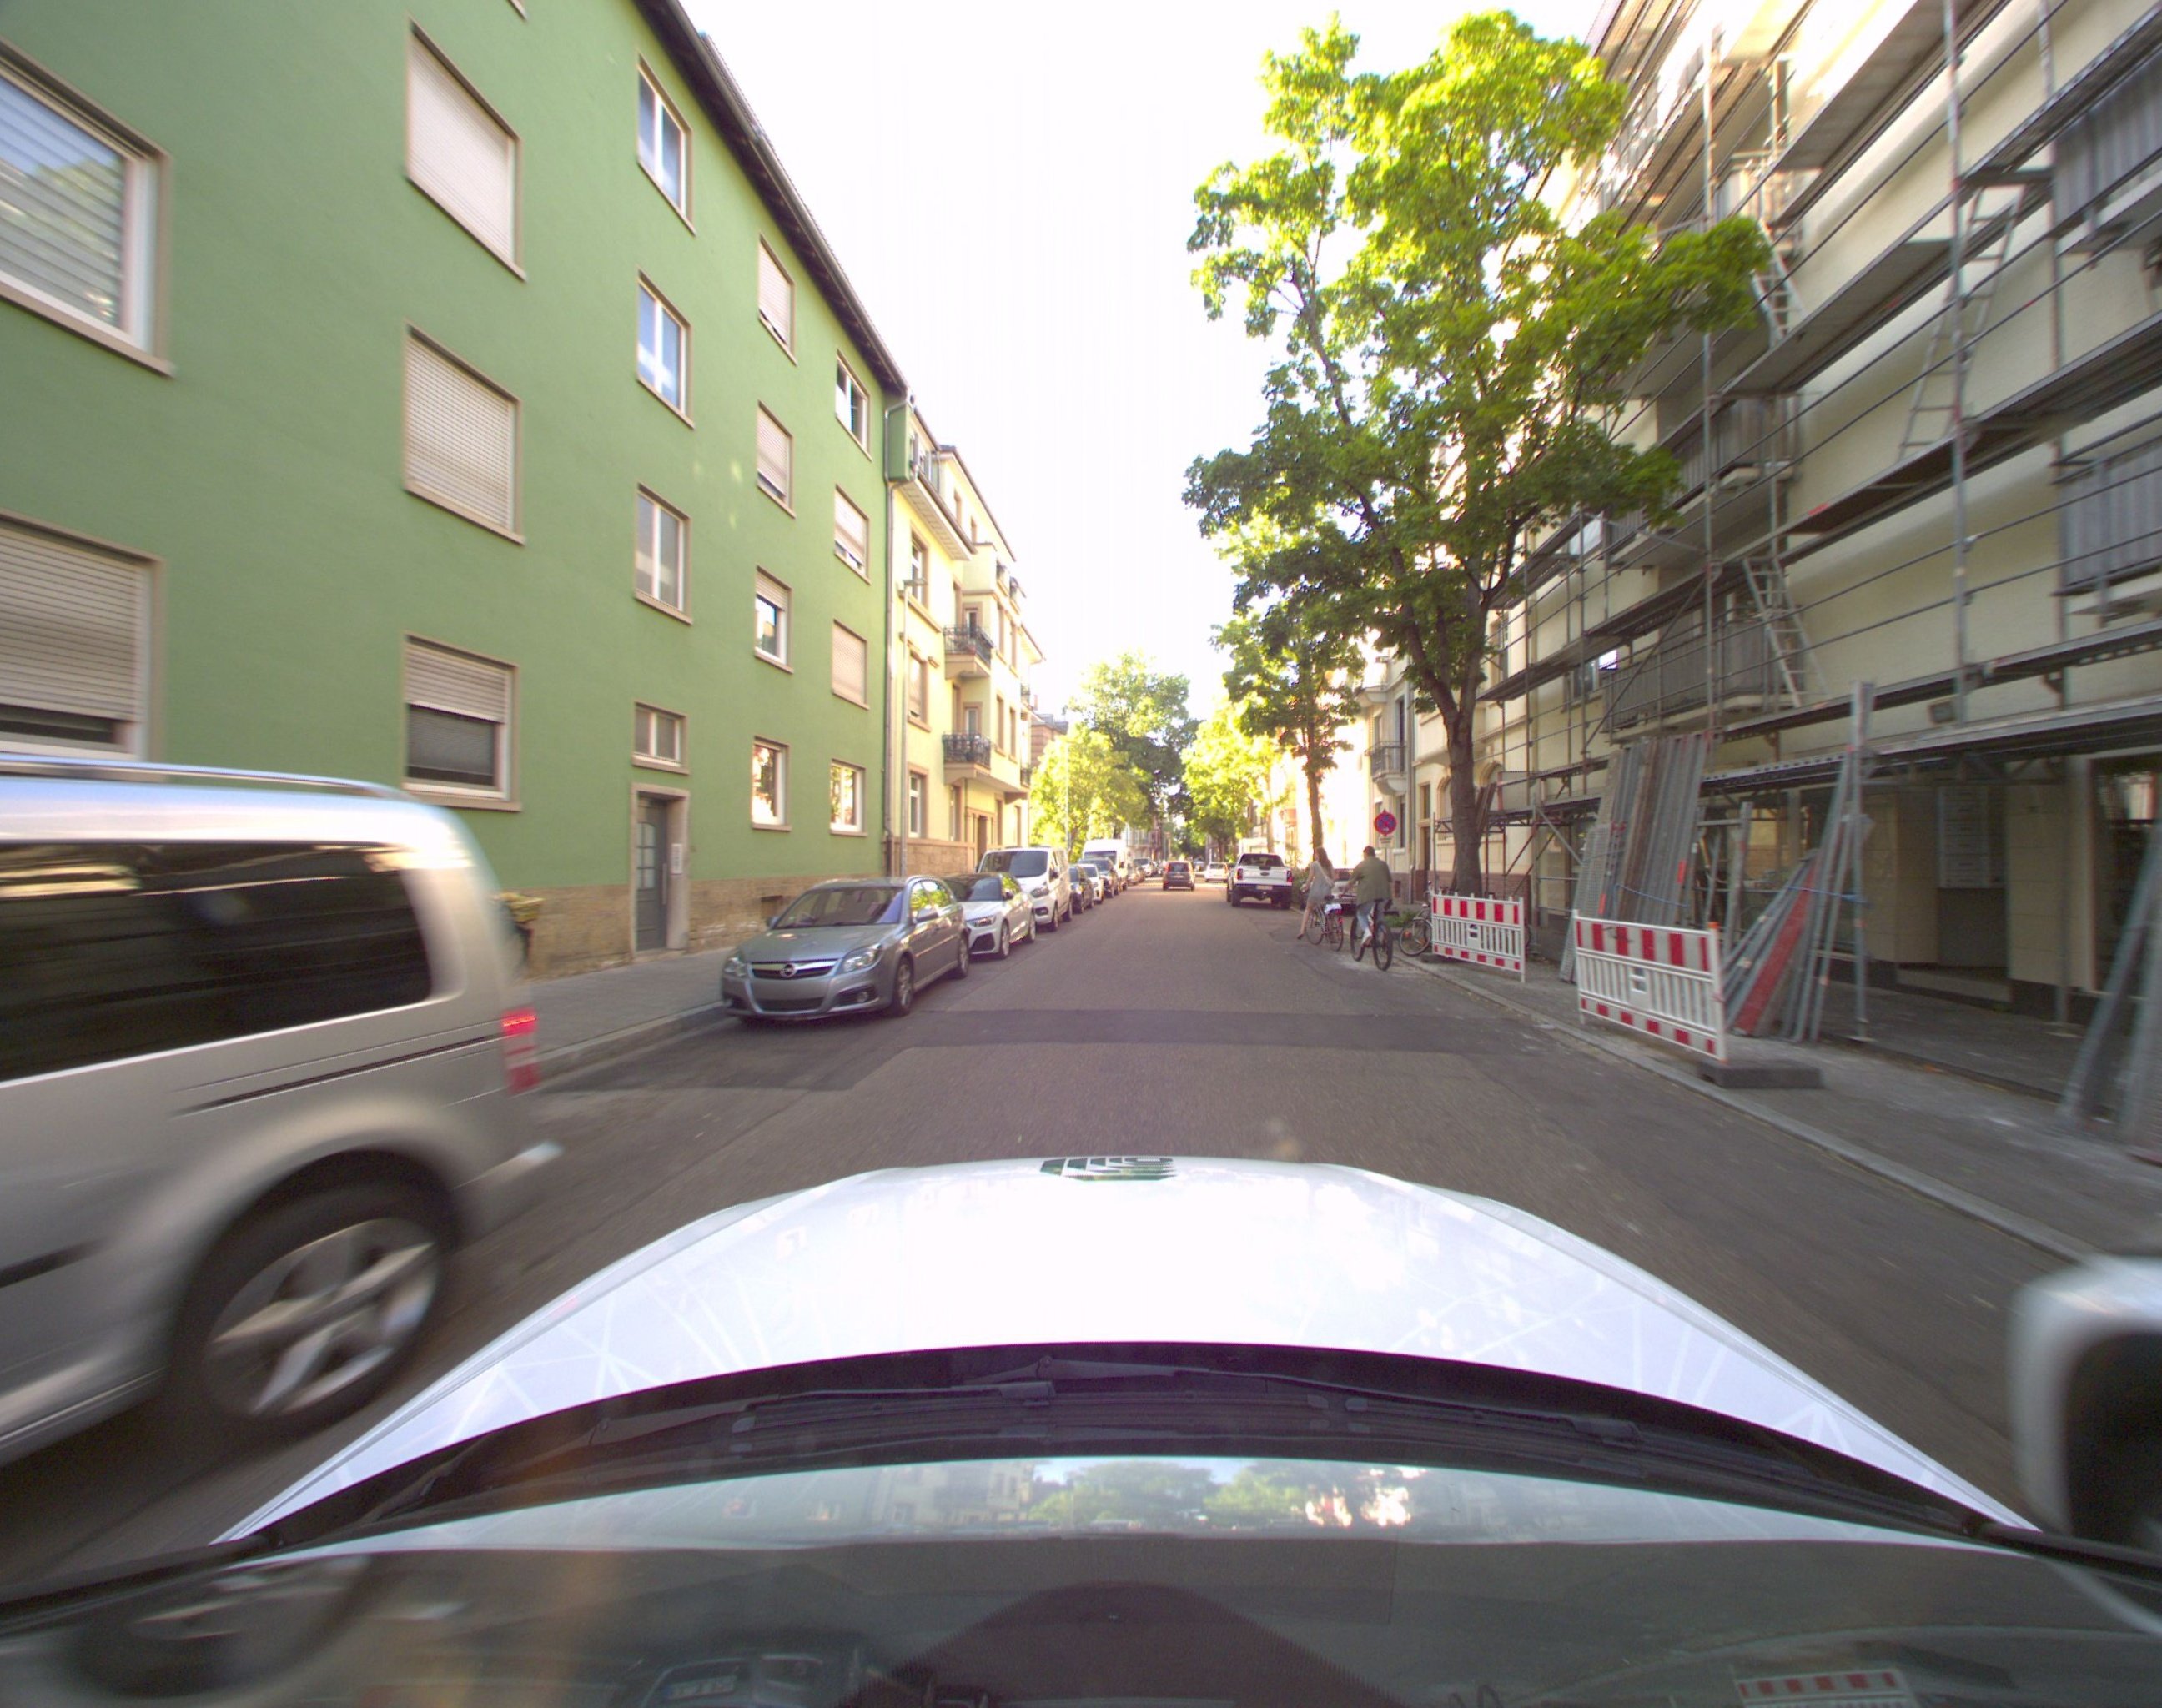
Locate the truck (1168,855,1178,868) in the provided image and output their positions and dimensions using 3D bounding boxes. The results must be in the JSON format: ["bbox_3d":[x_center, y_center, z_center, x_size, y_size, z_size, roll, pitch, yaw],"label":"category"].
[{"bbox_3d":[20.761,1.704,183.866,2.059,2.926,5.079,-4,-1,8],"label":"truck"}]

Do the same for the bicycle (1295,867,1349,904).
[{"bbox_3d":[8.494,1.108,28.792,1.750,1.305,0.587,0,-1,5],"label":"bicycle"}]

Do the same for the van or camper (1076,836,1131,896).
[{"bbox_3d":[1.250,0.591,41.934,2.117,2.769,5.863,-2,-1,7],"label":"van or camper"}]

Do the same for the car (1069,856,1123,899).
[{"bbox_3d":[0.742,0.989,36.169,1.865,1.685,4.979,-2,-1,7],"label":"car"}]

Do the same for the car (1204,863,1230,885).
[{"bbox_3d":[10.060,1.475,60.278,1.670,1.544,3.807,1,0,6],"label":"car"}]

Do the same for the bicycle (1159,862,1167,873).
[{"bbox_3d":[8.196,1.371,81.316,0.661,1.077,1.688,3,0,7],"label":"bicycle"}]

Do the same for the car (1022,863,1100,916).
[{"bbox_3d":[-0.536,1.072,26.403,1.757,1.521,4.835,-1,-1,7],"label":"car"}]

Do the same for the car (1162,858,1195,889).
[{"bbox_3d":[5.047,0.986,42.174,1.624,1.550,3.270,-1,-1,7],"label":"car"}]

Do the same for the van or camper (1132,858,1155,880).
[{"bbox_3d":[6.110,1.425,79.572,1.912,1.980,5.471,-3,-1,6],"label":"van or camper"}]

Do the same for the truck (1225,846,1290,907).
[{"bbox_3d":[6.126,0.725,28.808,1.818,1.949,5.552,0,0,7],"label":"truck"}]

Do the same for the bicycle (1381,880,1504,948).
[{"bbox_3d":[6.442,1.050,14.622,1.961,1.121,0.751,0,0,17],"label":"bicycle"}]

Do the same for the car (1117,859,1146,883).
[{"bbox_3d":[3.689,1.230,58.843,1.667,1.572,4.161,-3,-1,8],"label":"car"}]

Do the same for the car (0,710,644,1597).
[{"bbox_3d":[-3.352,0.651,1.382,1.755,1.843,4.440,-3,-1,22],"label":"car"}]

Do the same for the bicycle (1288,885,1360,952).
[{"bbox_3d":[4.407,1.143,14.887,0.703,1.045,1.857,3,-1,0],"label":"bicycle"}]

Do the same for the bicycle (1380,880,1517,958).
[{"bbox_3d":[5.938,1.015,13.218,1.904,1.121,0.752,0,-1,37],"label":"bicycle"}]

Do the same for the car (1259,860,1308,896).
[{"bbox_3d":[9.353,1.078,37.929,1.741,1.529,4.792,-1,-1,8],"label":"car"}]

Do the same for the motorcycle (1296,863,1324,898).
[{"bbox_3d":[9.638,1.079,34.317,0.856,1.416,2.239,1,0,8],"label":"motorcycle"}]

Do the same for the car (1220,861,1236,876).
[{"bbox_3d":[15.216,1.506,84.267,1.512,1.511,3.551,0,-1,8],"label":"car"}]

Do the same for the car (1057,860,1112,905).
[{"bbox_3d":[0.196,1.053,31.116,1.626,1.552,4.096,-1,-1,6],"label":"car"}]

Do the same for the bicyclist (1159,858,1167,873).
[{"bbox_3d":[8.215,1.157,81.386,0.648,1.509,0.626,3,0,7],"label":"bicyclist"}]

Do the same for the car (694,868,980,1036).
[{"bbox_3d":[-2.544,0.951,9.776,1.712,1.462,4.512,-3,-1,4],"label":"car"}]

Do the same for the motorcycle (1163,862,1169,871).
[{"bbox_3d":[13.406,1.951,128.313,0.695,1.461,1.749,-1,-1,-2],"label":"motorcycle"}]

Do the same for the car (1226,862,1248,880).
[{"bbox_3d":[13.261,1.408,69.532,1.588,1.488,3.756,-1,-1,7],"label":"car"}]

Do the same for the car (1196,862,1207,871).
[{"bbox_3d":[19.642,2.001,132.948,1.653,1.505,3.765,1,0,8],"label":"car"}]

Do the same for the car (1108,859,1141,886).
[{"bbox_3d":[2.857,1.187,52.681,1.771,1.591,4.477,-2,-1,7],"label":"car"}]

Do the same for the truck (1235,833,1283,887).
[{"bbox_3d":[10.526,0.356,48.644,2.063,2.969,6.120,-3,-1,6],"label":"truck"}]

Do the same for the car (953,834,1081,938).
[{"bbox_3d":[-1.412,0.730,20.404,2.241,2.169,5.251,-3,-1,5],"label":"car"}]

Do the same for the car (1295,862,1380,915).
[{"bbox_3d":[7.726,0.996,24.918,1.671,1.422,4.438,-2,-1,7],"label":"car"}]

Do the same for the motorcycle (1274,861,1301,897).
[{"bbox_3d":[8.702,1.026,34.400,0.924,1.486,2.143,0,-1,8],"label":"motorcycle"}]

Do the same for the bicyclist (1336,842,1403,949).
[{"bbox_3d":[4.427,0.609,12.554,0.751,1.565,0.983,1,-1,6],"label":"bicyclist"}]

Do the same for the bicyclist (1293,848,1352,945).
[{"bbox_3d":[4.413,0.762,14.932,0.712,1.689,0.981,2,-1,-2],"label":"bicyclist"}]

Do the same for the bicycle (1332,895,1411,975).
[{"bbox_3d":[4.421,1.200,12.520,0.735,1.060,1.861,1,-1,6],"label":"bicycle"}]

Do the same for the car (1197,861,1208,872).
[{"bbox_3d":[19.228,1.949,128.463,1.653,1.669,3.765,1,0,8],"label":"car"}]

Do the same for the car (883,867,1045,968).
[{"bbox_3d":[-1.916,1.021,14.771,1.824,1.462,4.370,-3,-1,6],"label":"car"}]

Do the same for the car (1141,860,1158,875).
[{"bbox_3d":[8.023,1.589,95.308,1.816,1.554,4.139,-4,-1,5],"label":"car"}]

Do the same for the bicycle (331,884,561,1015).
[{"bbox_3d":[-6.196,0.869,8.115,0.484,1.075,1.973,4,-1,7],"label":"bicycle"}]
